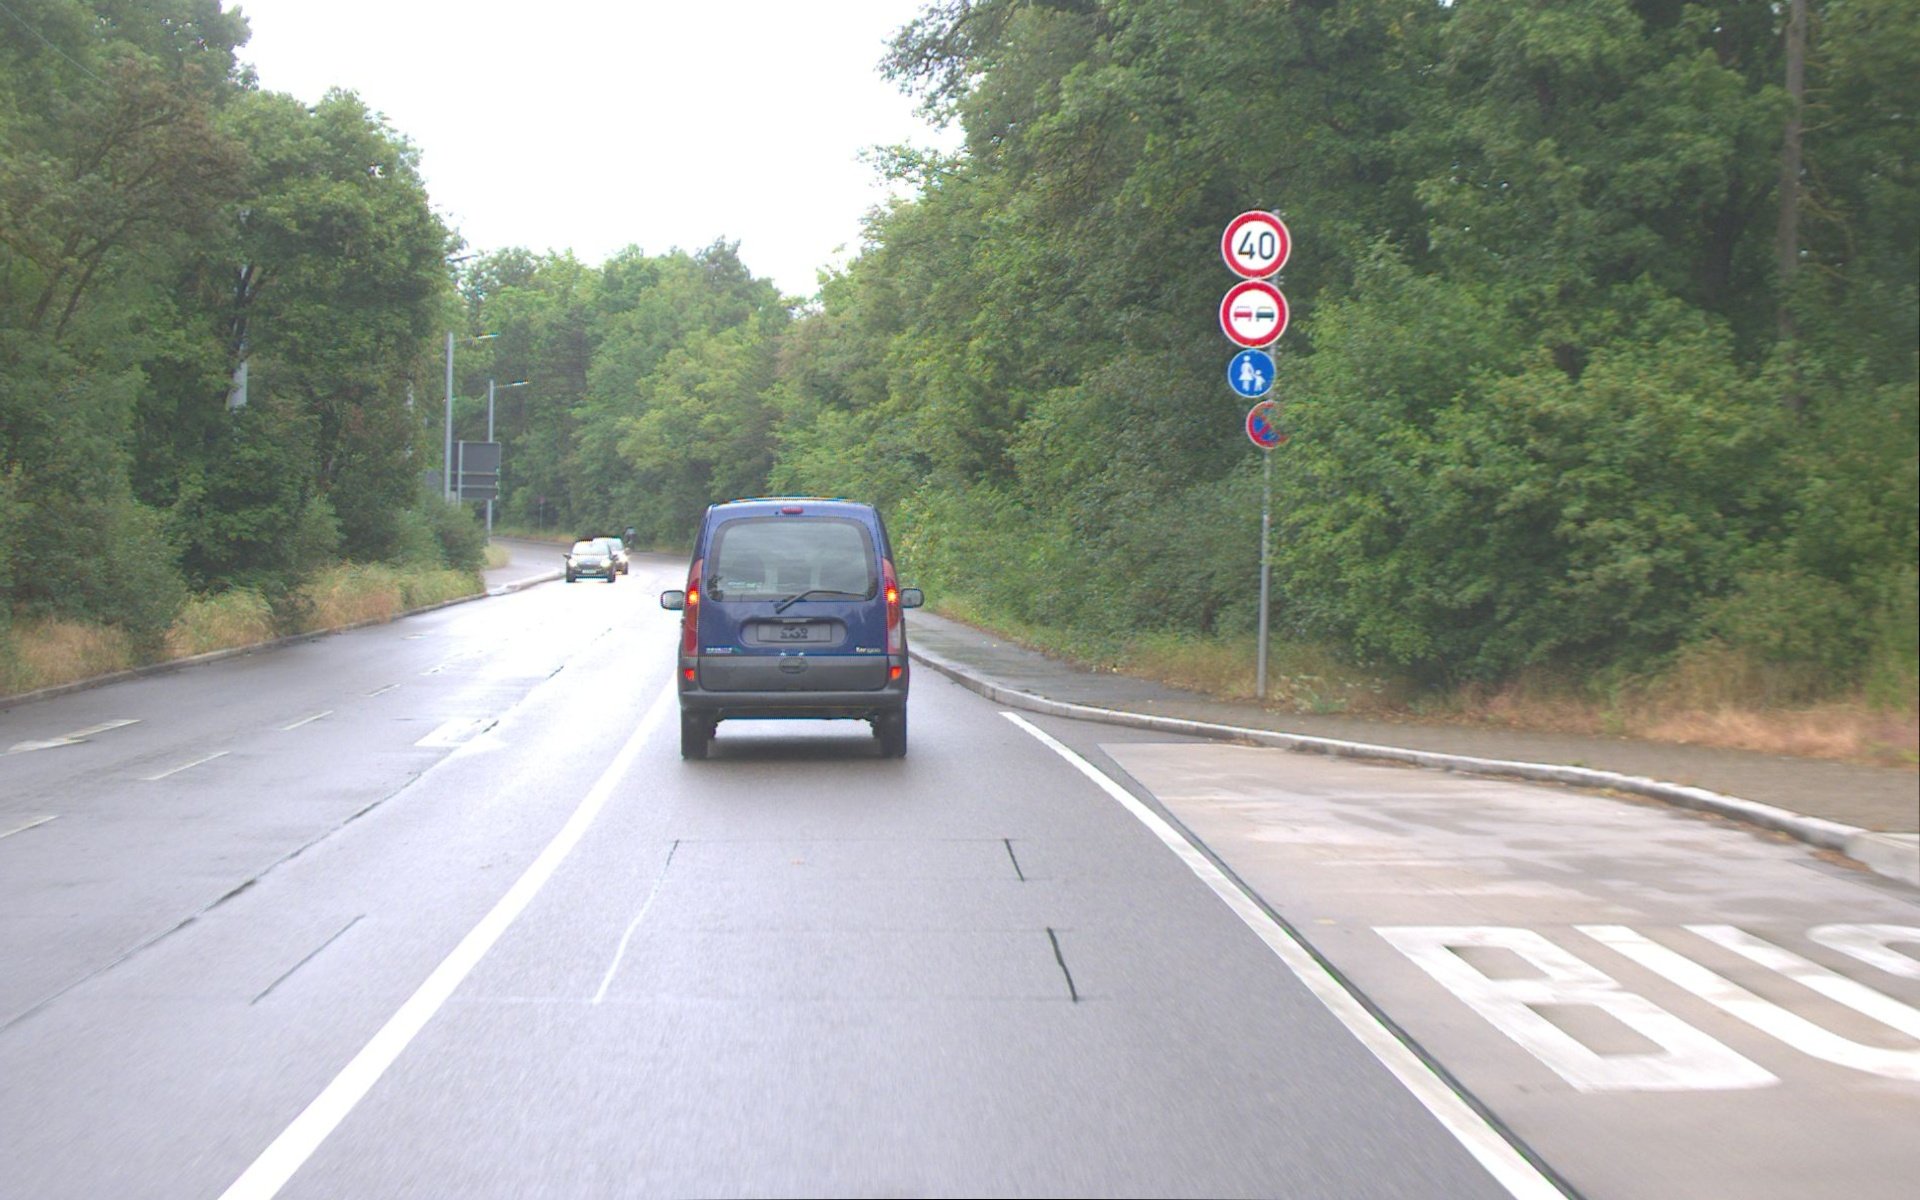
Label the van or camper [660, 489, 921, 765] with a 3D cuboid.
[{"bbox_3d":[-1.189,0.157,25.482,1.712,1.819,4.000,2,1,-1],"label":"van or camper"}]

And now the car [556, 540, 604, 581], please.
[{"bbox_3d":[-13.795,-1.458,124.882,1.598,1.436,3.991,0,1,-5],"label":"car"}]
